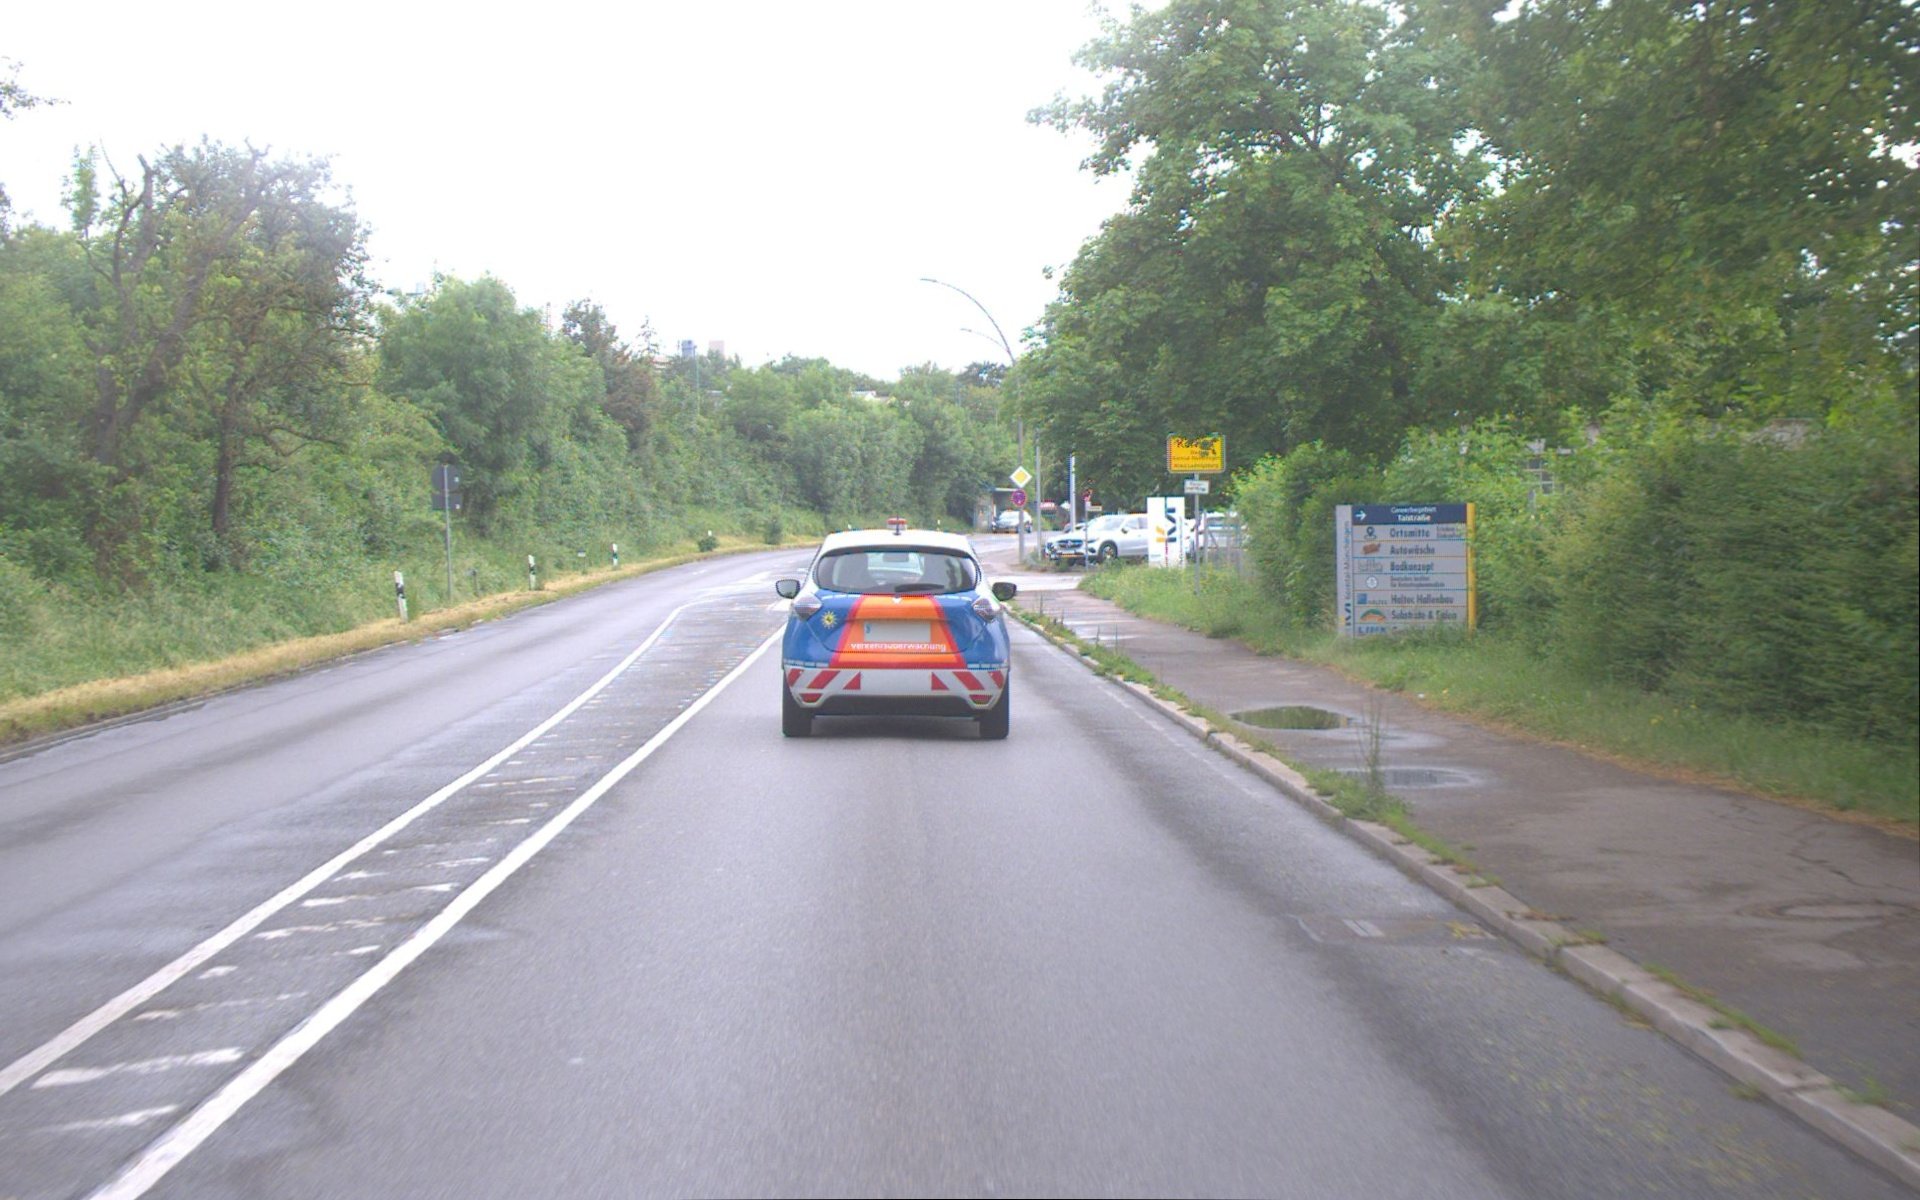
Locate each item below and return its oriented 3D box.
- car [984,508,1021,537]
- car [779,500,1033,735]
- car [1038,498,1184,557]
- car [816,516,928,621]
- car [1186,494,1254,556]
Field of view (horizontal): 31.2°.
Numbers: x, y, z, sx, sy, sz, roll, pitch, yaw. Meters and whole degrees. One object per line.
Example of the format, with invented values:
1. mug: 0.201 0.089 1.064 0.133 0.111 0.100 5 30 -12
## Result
1. car: 2.755 -5.063 223.613 1.695 1.784 3.854 2 1 11
2. car: -0.439 0.104 26.944 1.806 1.662 3.856 1 1 -1
3. car: 4.828 -2.297 109.524 2.034 1.745 4.606 2 1 44
4. car: -1.384 -0.516 55.257 1.694 1.590 3.856 1 1 -1
5. car: 8.061 -2.312 106.814 1.826 1.823 4.264 2 1 1
